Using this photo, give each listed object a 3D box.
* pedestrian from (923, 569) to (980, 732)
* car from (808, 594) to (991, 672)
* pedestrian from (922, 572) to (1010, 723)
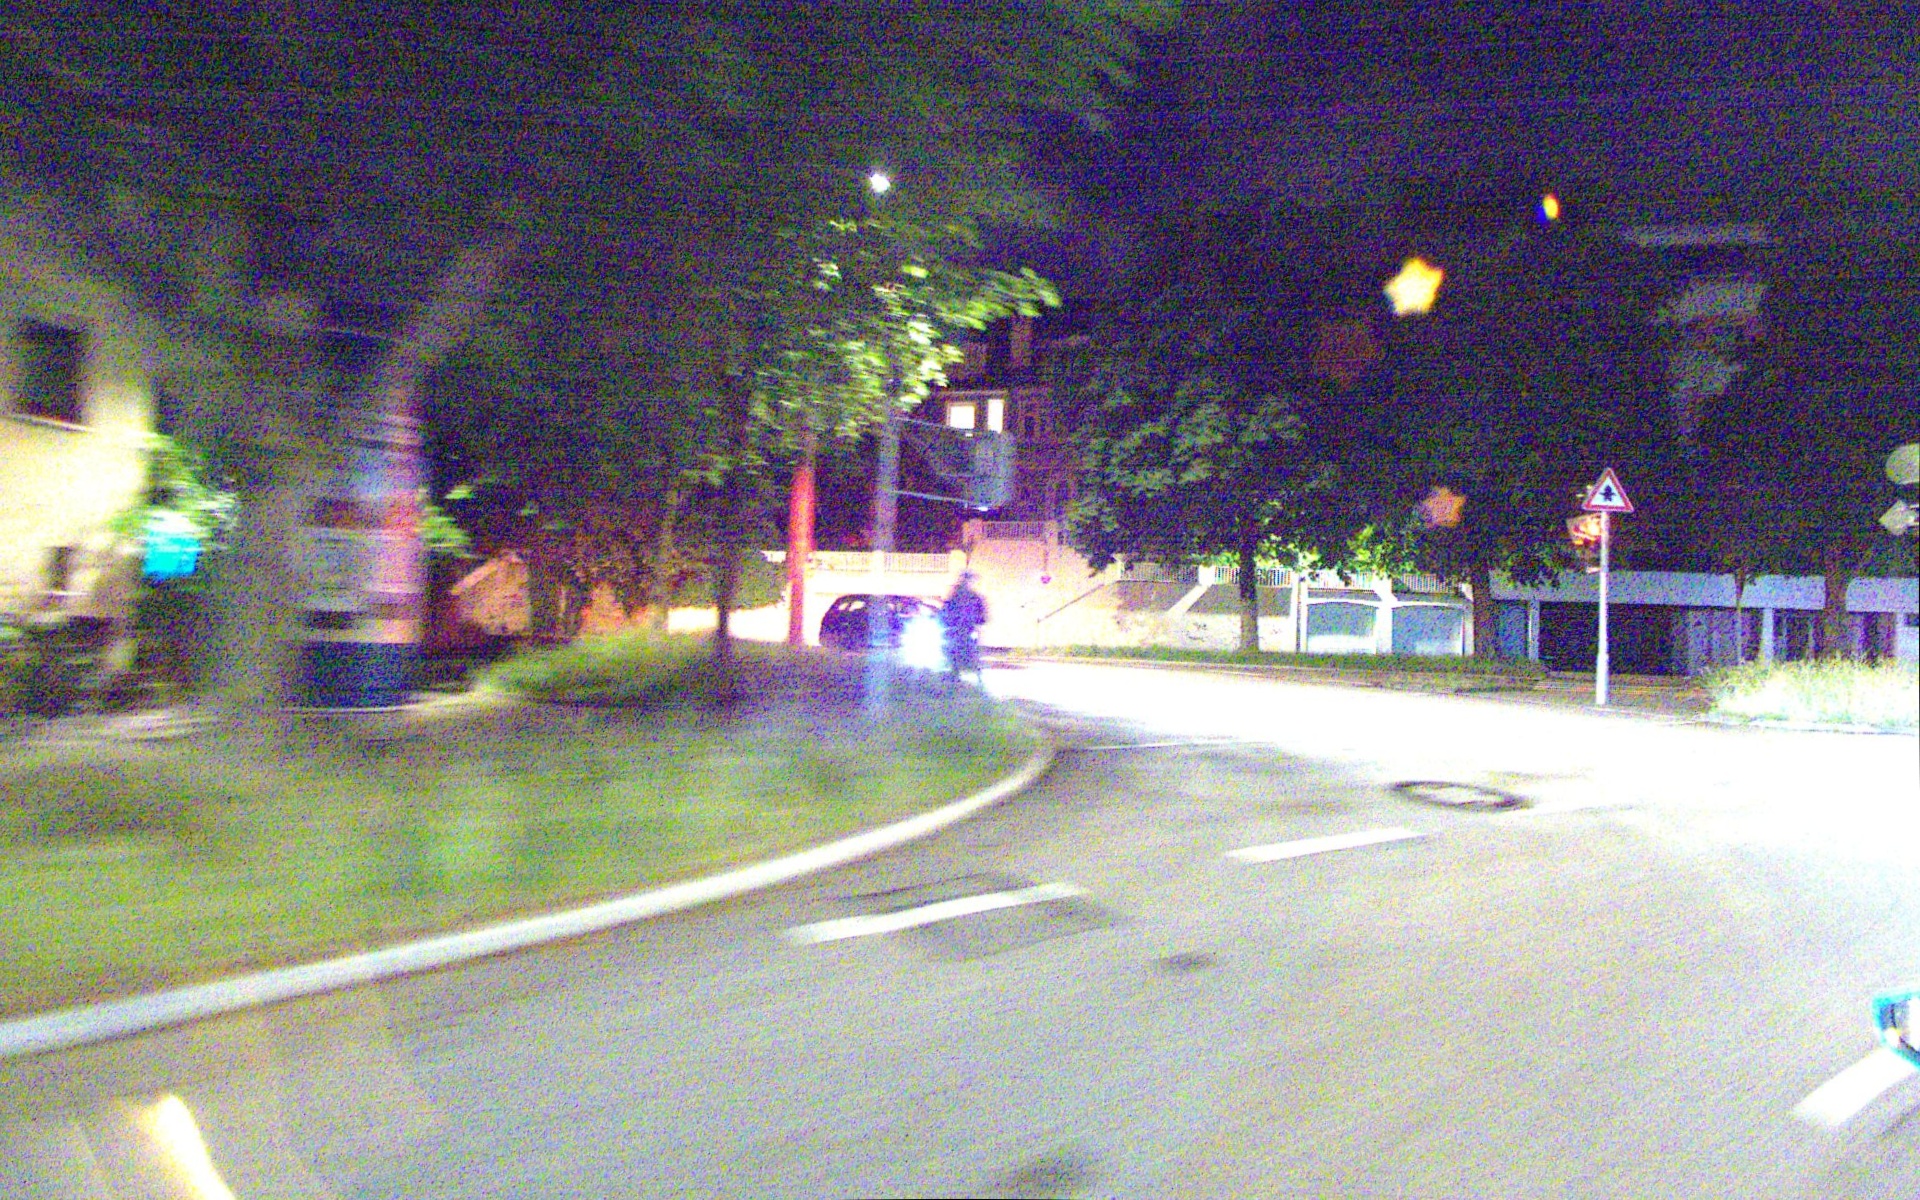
[{"bbox_3d":[-0.104,0.563,11.551,0.514,1.816,0.691,1,1,-10],"label":"pedestrian"},{"bbox_3d":[-1.416,0.655,21.956,1.719,1.449,4.236,1,1,-42],"label":"car"},{"bbox_3d":[0.061,0.567,12.516,0.719,1.793,0.959,1,1,-24],"label":"pedestrian"}]
